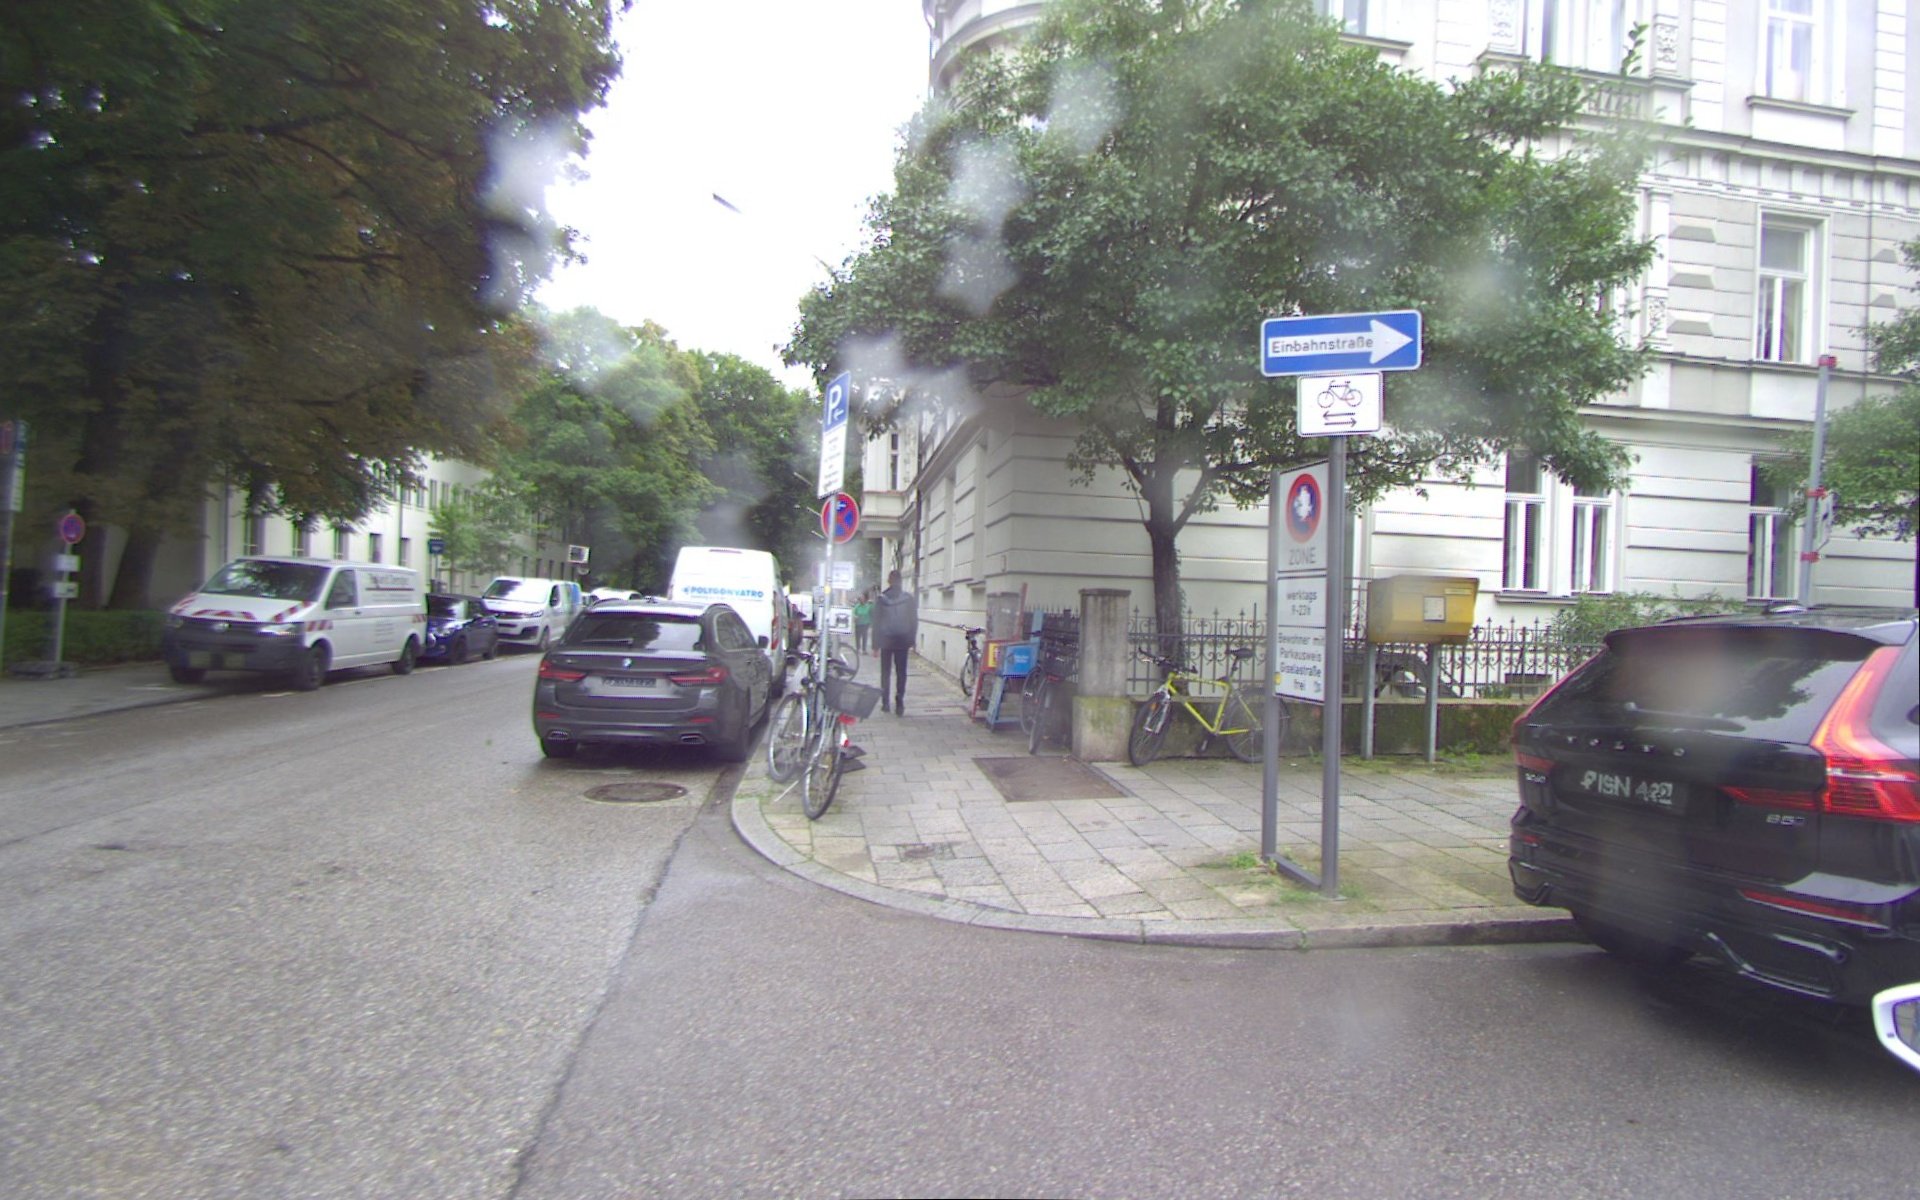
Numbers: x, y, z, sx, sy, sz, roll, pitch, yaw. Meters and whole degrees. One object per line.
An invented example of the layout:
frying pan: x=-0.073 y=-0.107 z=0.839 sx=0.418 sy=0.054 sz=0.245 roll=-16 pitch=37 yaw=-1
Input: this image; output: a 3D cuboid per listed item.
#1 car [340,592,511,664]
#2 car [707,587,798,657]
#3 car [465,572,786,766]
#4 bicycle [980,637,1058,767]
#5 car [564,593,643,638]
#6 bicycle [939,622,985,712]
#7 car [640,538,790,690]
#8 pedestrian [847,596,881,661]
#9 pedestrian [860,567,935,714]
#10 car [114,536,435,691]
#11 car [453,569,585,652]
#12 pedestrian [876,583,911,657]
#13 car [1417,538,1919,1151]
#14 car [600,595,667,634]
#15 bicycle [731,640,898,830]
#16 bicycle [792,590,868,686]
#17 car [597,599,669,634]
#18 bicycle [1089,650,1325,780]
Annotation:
car: x=-11.597 y=0.571 z=22.123 sx=2.180 sy=1.347 sz=3.940 roll=3 pitch=0 yaw=-11
car: x=-5.312 y=0.548 z=26.153 sx=2.106 sy=1.651 sz=4.308 roll=0 pitch=0 yaw=-10
car: x=-3.119 y=0.583 z=10.521 sx=2.237 sy=1.567 sz=4.582 roll=0 pitch=0 yaw=-6
bicycle: x=0.546 y=0.939 z=9.842 sx=0.423 sy=1.042 sz=1.888 roll=1 pitch=1 yaw=-6
car: x=-13.821 y=0.581 z=39.169 sx=2.038 sy=1.539 sz=4.231 roll=3 pitch=0 yaw=-8
bicycle: x=0.041 y=0.850 z=13.355 sx=0.537 sy=1.074 sz=1.751 roll=2 pitch=0 yaw=1
car: x=-4.053 y=0.233 z=17.410 sx=2.171 sy=2.237 sz=4.847 roll=0 pitch=0 yaw=-10
pedestrian: x=-2.553 y=0.750 z=26.764 sx=0.846 sy=1.710 sz=0.775 roll=2 pitch=0 yaw=-7
pedestrian: x=-0.776 y=0.471 z=12.211 sx=0.844 sy=1.712 sz=0.974 roll=1 pitch=0 yaw=-6
car: x=-10.650 y=0.198 z=16.285 sx=2.215 sy=1.982 sz=5.442 roll=3 pitch=0 yaw=-11
car: x=-12.067 y=0.266 z=27.908 sx=2.152 sy=1.982 sz=5.156 roll=3 pitch=0 yaw=-11
pedestrian: x=-1.724 y=0.512 z=25.968 sx=0.846 sy=1.859 sz=0.666 roll=2 pitch=0 yaw=-7
car: x=4.741 y=0.809 z=4.206 sx=4.964 sy=1.673 sz=1.941 roll=2 pitch=-4 yaw=-11
car: x=-14.268 y=0.607 z=44.140 sx=1.930 sy=1.548 sz=4.039 roll=3 pitch=0 yaw=-6
bicycle: x=-1.136 y=0.877 z=7.332 sx=0.647 sy=1.042 sz=2.189 roll=1 pitch=1 yaw=-23
bicycle: x=-2.253 y=0.604 z=17.182 sx=0.700 sy=1.535 sz=2.026 roll=1 pitch=0 yaw=-25
car: x=-14.275 y=0.703 z=44.073 sx=2.085 sy=1.347 sz=4.135 roll=3 pitch=0 yaw=-5
bicycle: x=2.129 y=0.993 z=8.750 sx=1.892 sy=1.042 sz=0.556 roll=1 pitch=1 yaw=-6
